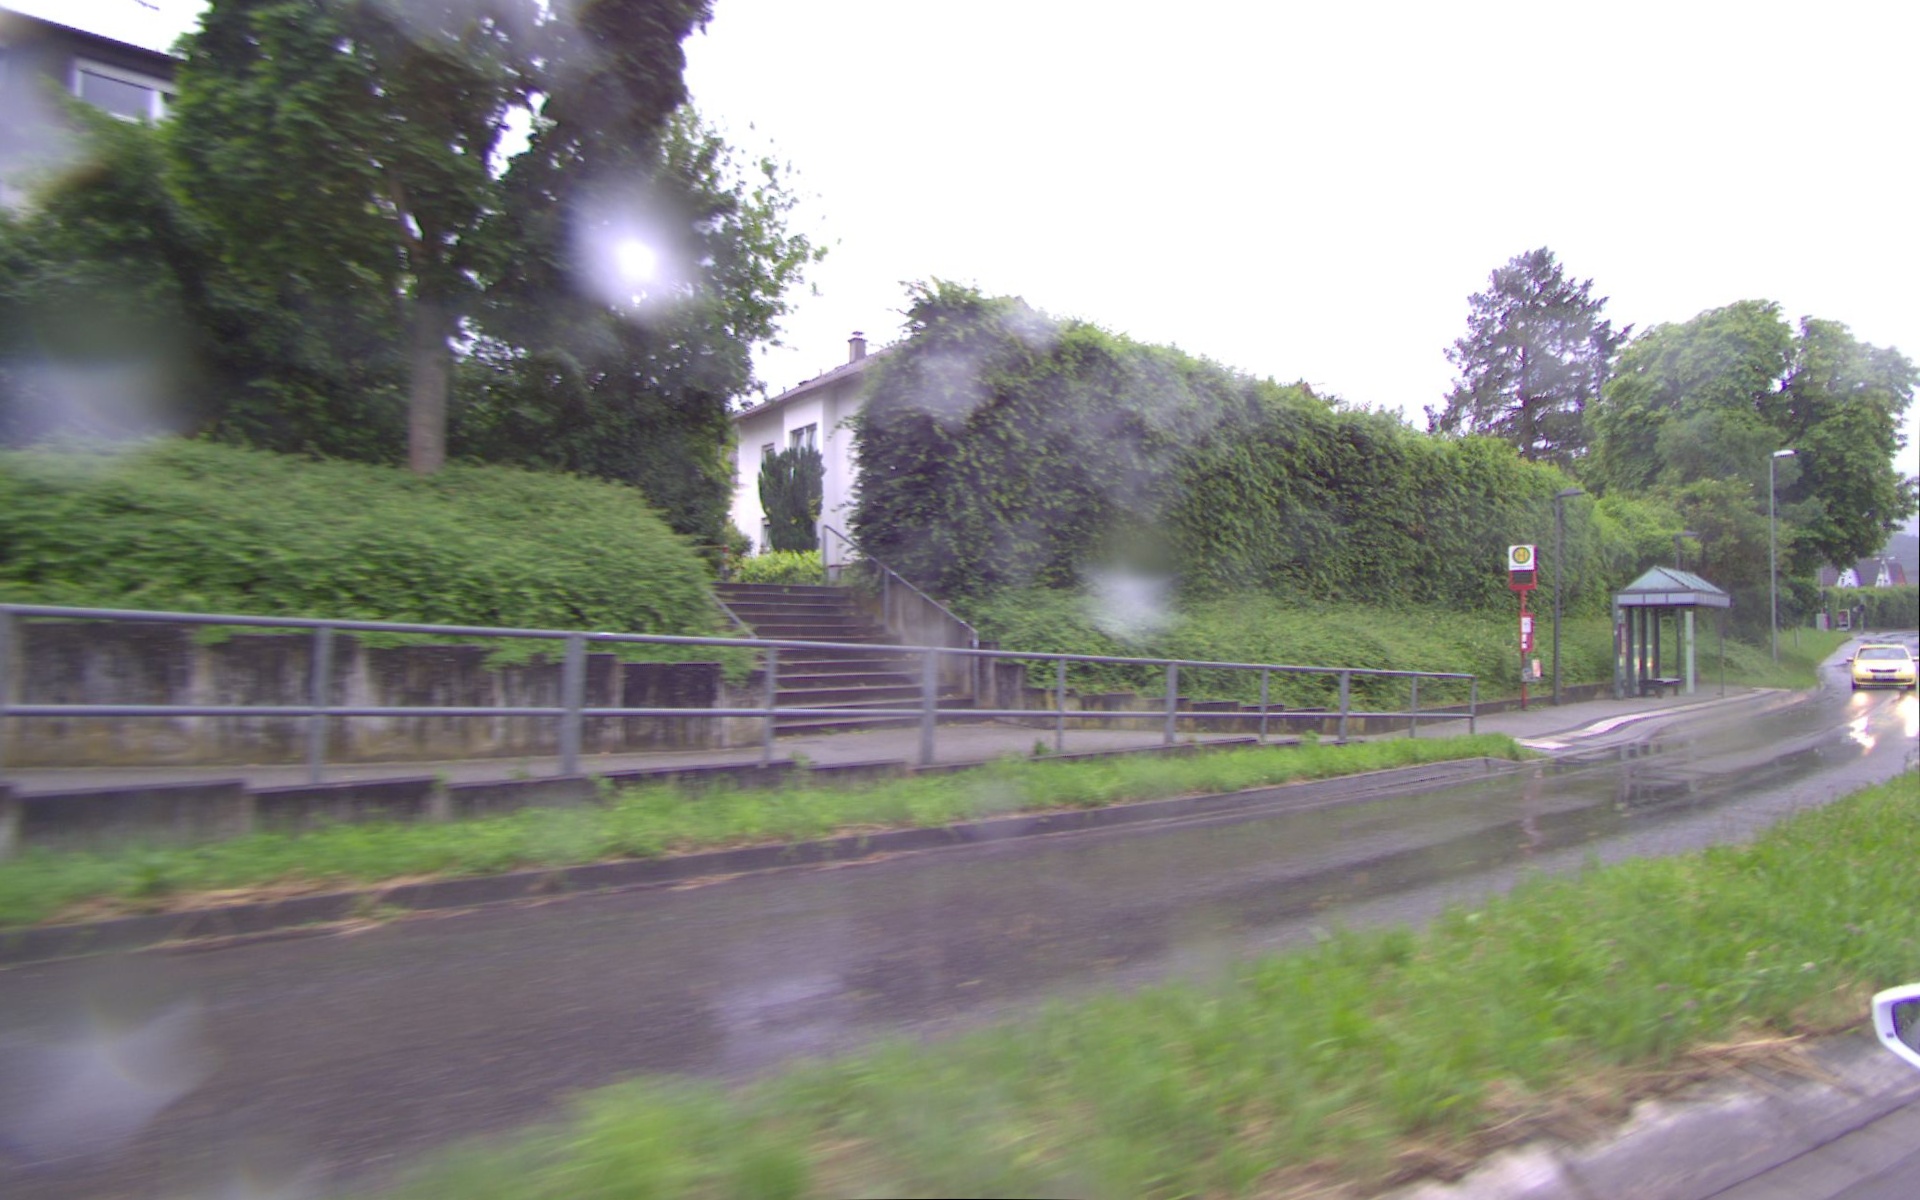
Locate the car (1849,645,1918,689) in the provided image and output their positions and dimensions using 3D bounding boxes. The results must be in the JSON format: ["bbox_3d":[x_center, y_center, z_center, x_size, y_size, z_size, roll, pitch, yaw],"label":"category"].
[{"bbox_3d":[31.649,2.268,34.400,3.452,1.428,1.557,2,-4,-45],"label":"car"}]
